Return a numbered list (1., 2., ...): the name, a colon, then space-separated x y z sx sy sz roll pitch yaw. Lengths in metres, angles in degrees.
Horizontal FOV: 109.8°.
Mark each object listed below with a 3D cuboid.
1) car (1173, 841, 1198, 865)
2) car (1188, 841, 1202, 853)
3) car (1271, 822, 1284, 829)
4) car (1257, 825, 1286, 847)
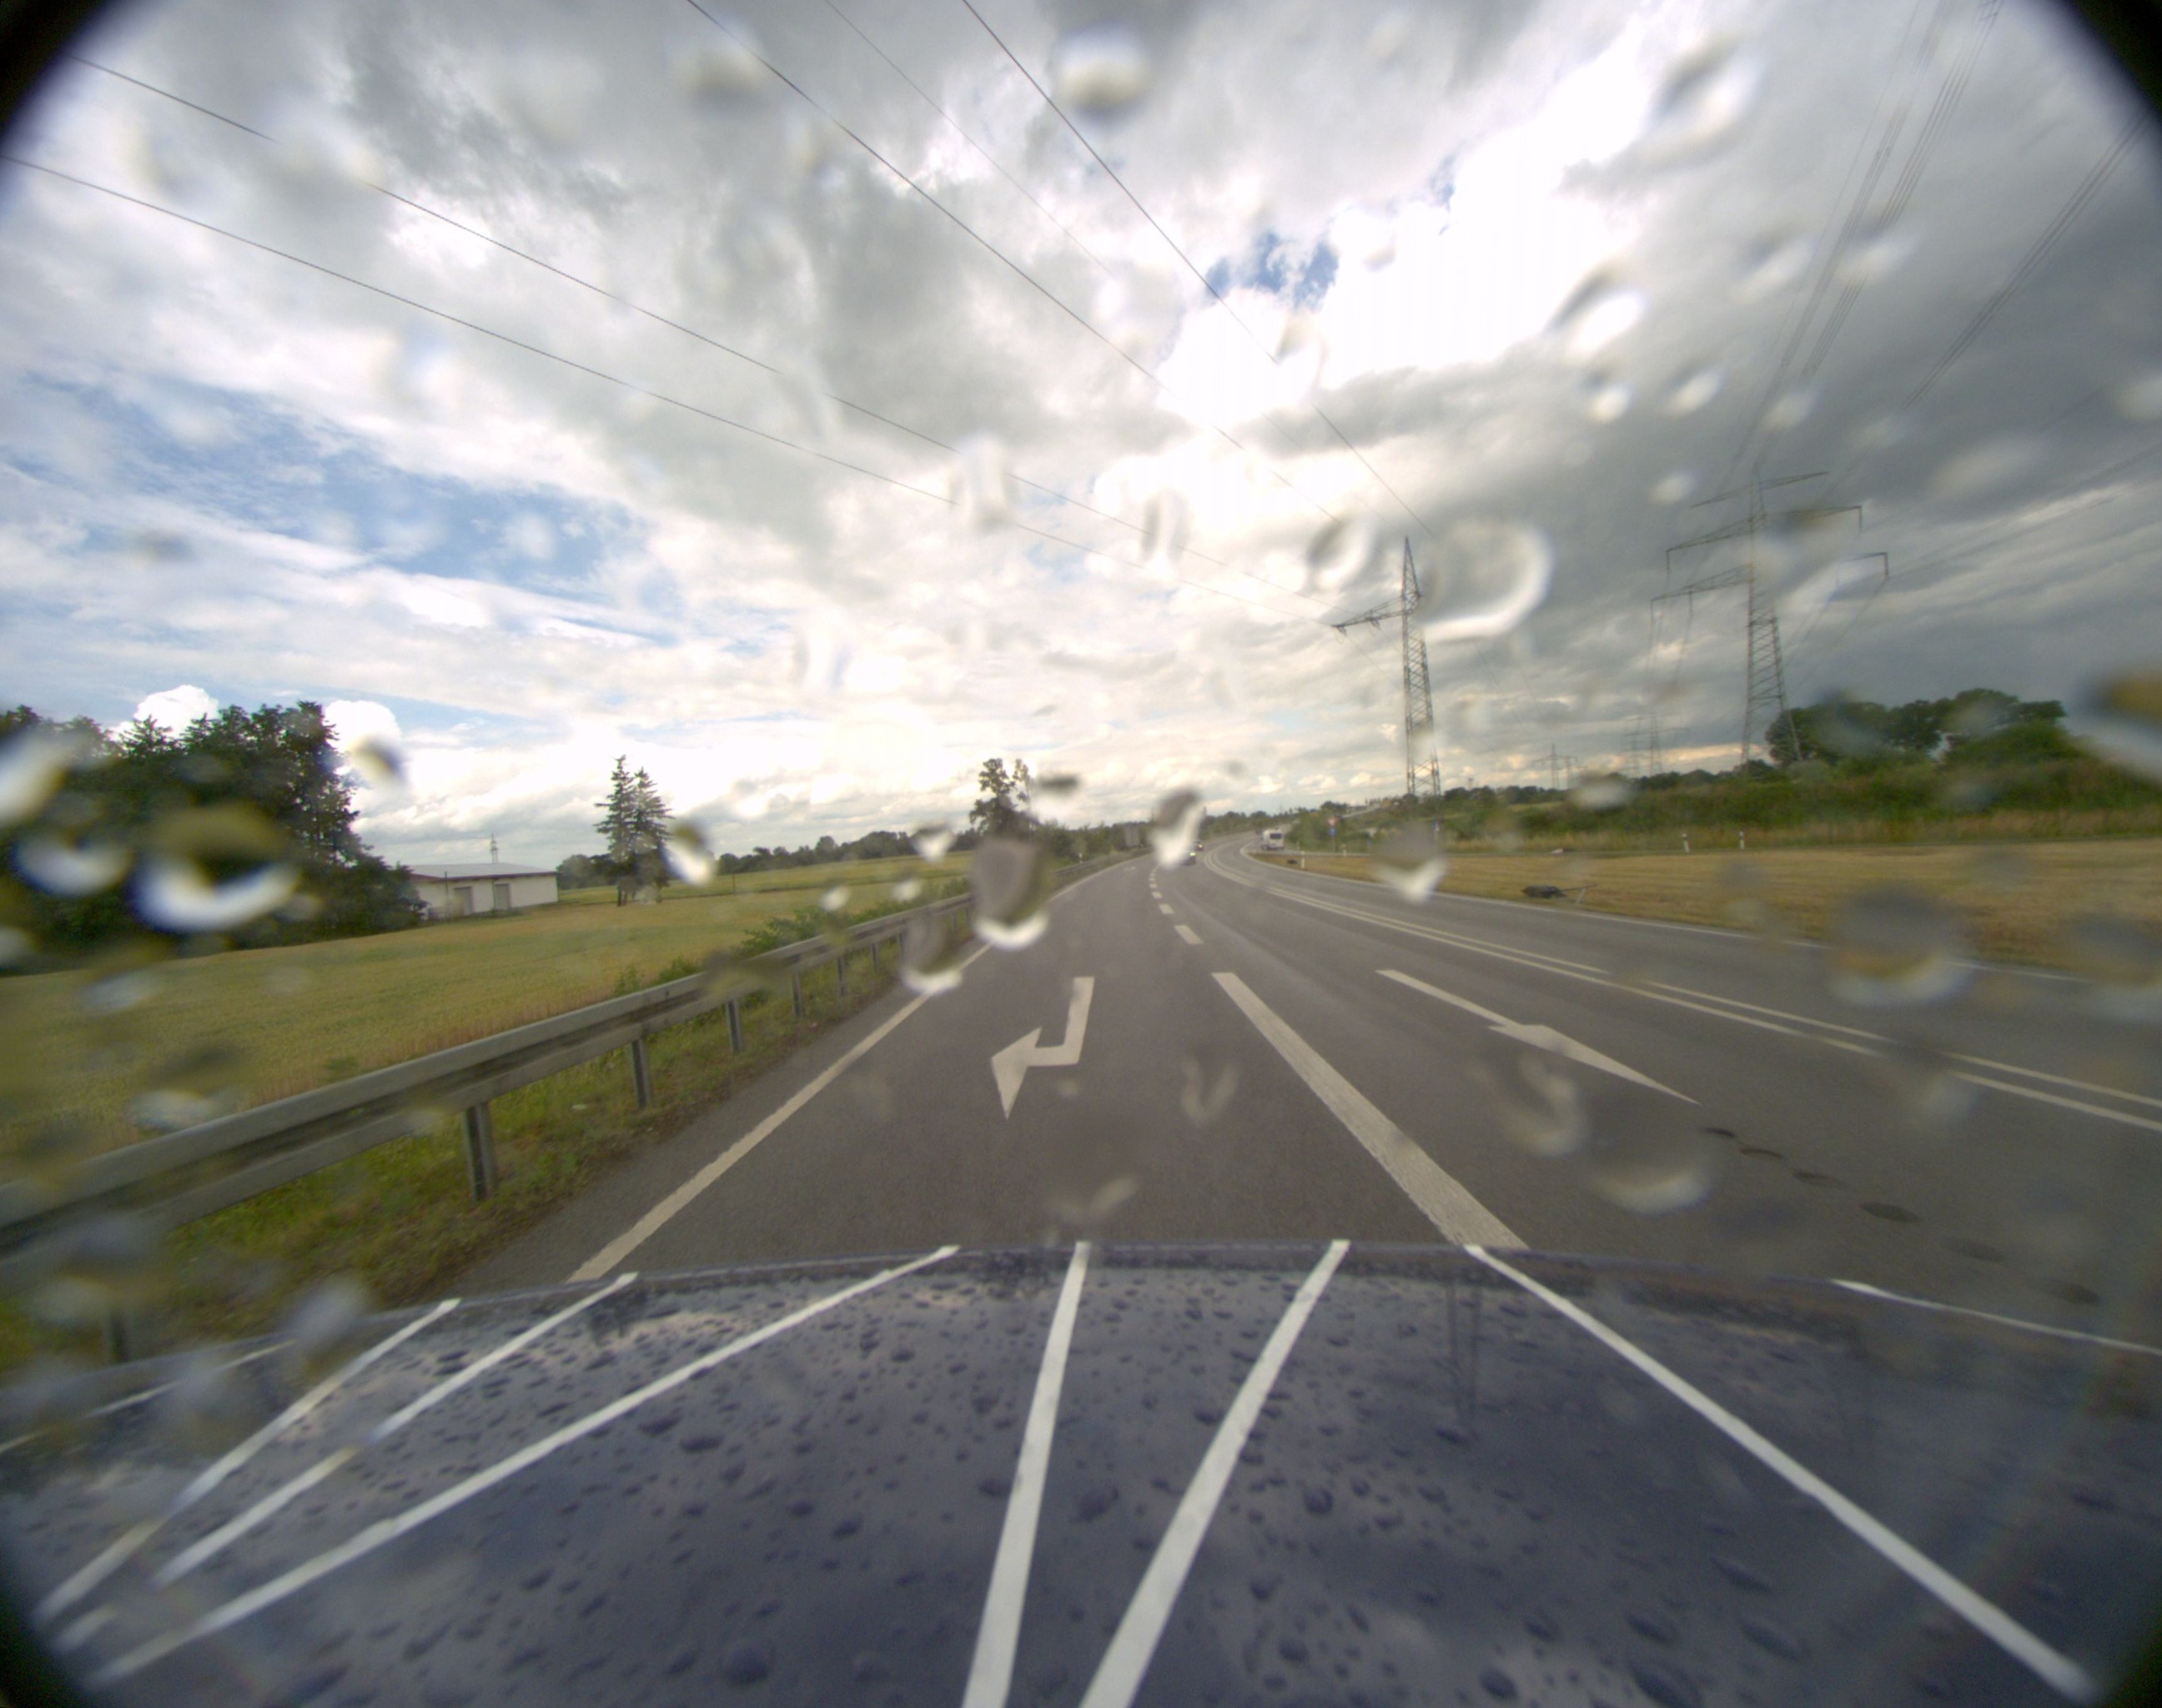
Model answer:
1. car: 8.412 -0.094 61.188 1.795 1.759 4.001 -3 1 8
2. car: 15.840 -0.968 105.433 1.747 1.488 4.051 -3 1 8
3. car: 49.955 -7.200 193.094 1.801 1.585 4.232 -3 1 31
4. car: 24.473 -2.355 97.797 2.212 2.734 6.019 -2 2 1
